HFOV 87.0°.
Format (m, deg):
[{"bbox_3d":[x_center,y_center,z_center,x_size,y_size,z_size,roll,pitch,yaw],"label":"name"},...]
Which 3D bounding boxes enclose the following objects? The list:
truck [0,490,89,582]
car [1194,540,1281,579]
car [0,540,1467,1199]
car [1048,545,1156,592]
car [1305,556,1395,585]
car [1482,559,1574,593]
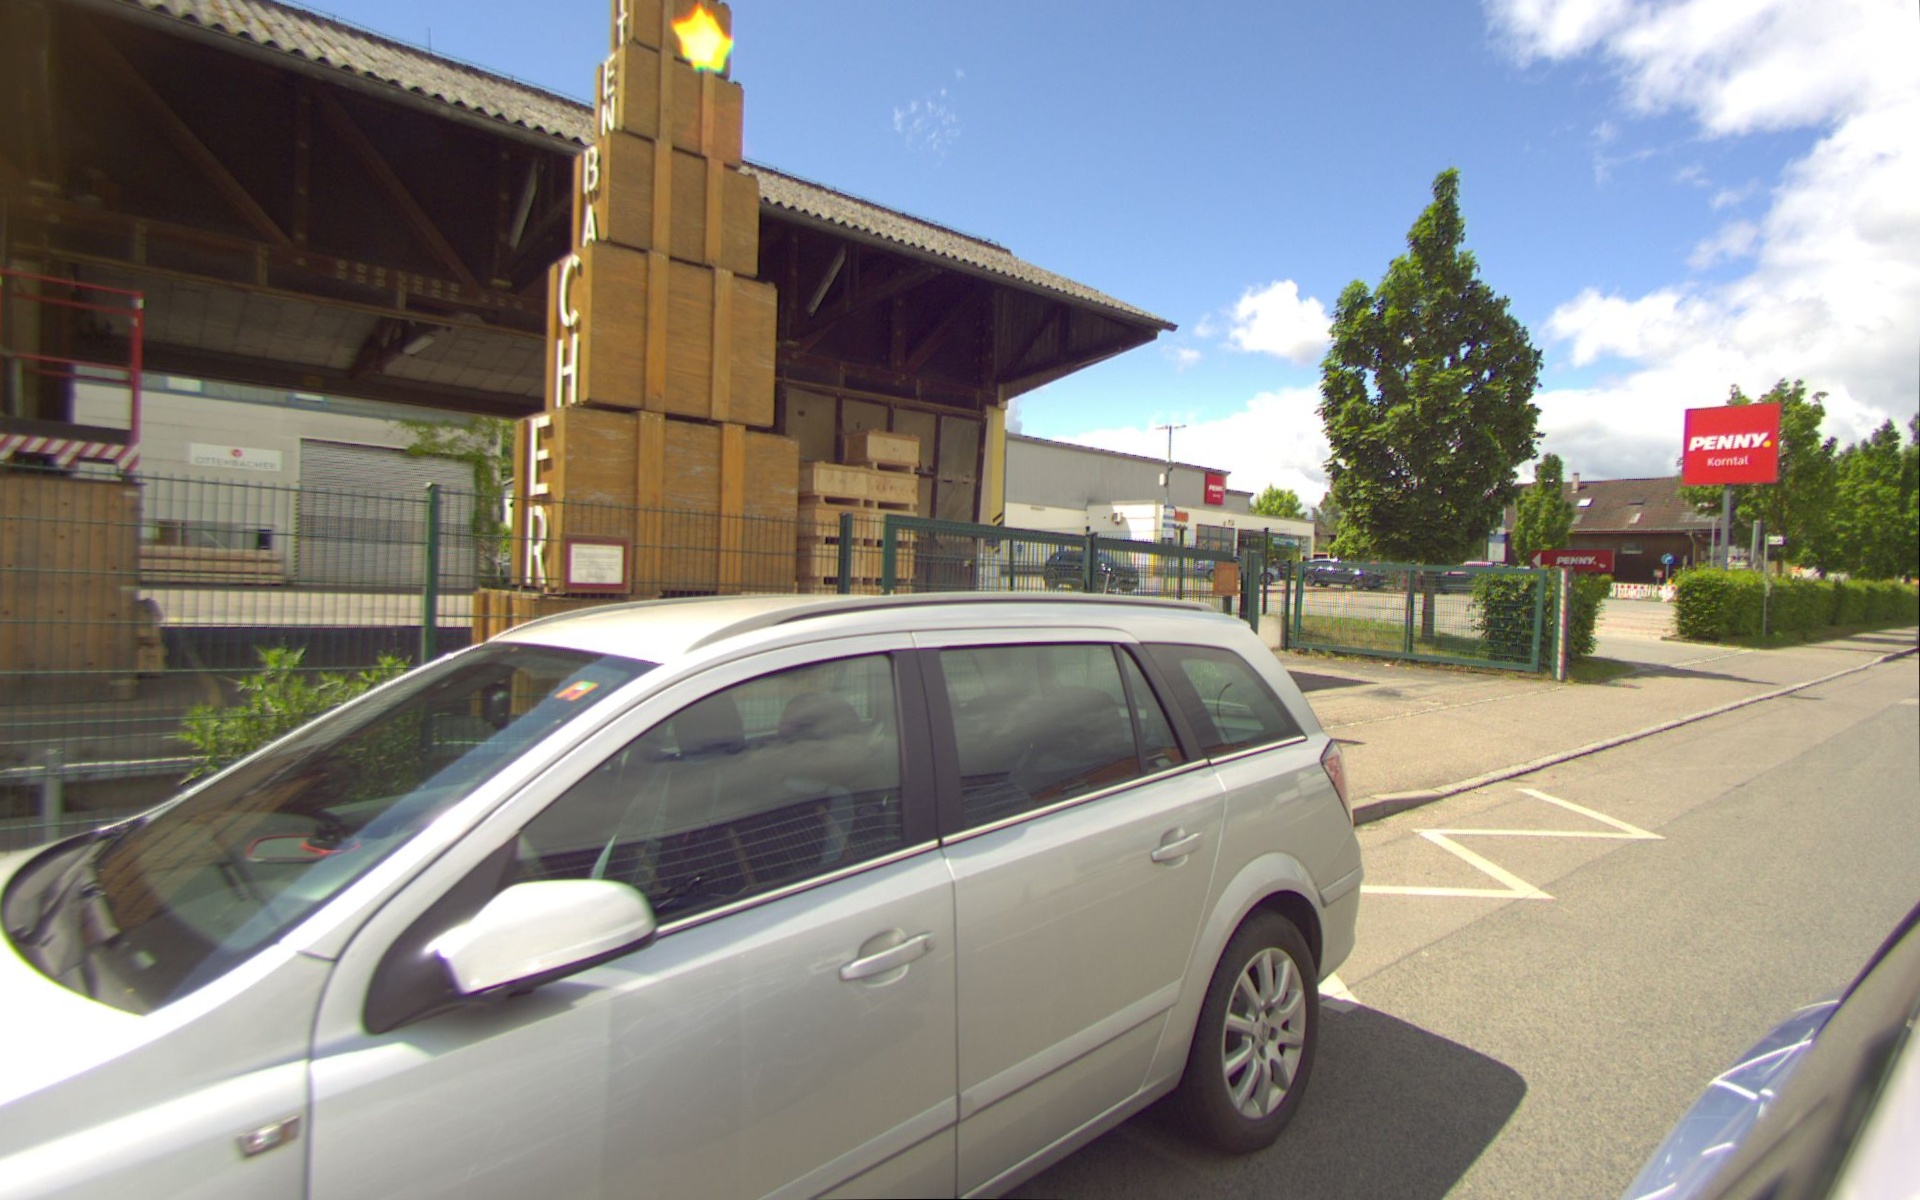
[{"bbox_3d":[-26.588,-1.704,26.813,5.284,2.373,1.996,0,-1,-41],"label":"truck"},{"bbox_3d":[14.632,-2.114,53.630,4.233,1.928,1.994,0,-1,10],"label":"car"},{"bbox_3d":[-0.583,0.648,2.502,4.288,1.467,1.795,0,3,-42],"label":"car"},{"bbox_3d":[5.565,-1.186,40.013,1.963,1.705,3.997,0,-1,-38],"label":"car"},{"bbox_3d":[20.377,-1.537,52.962,1.965,1.371,3.993,0,-1,-41],"label":"car"},{"bbox_3d":[30.834,-1.276,55.003,1.966,1.727,3.992,0,-1,-42],"label":"car"}]
